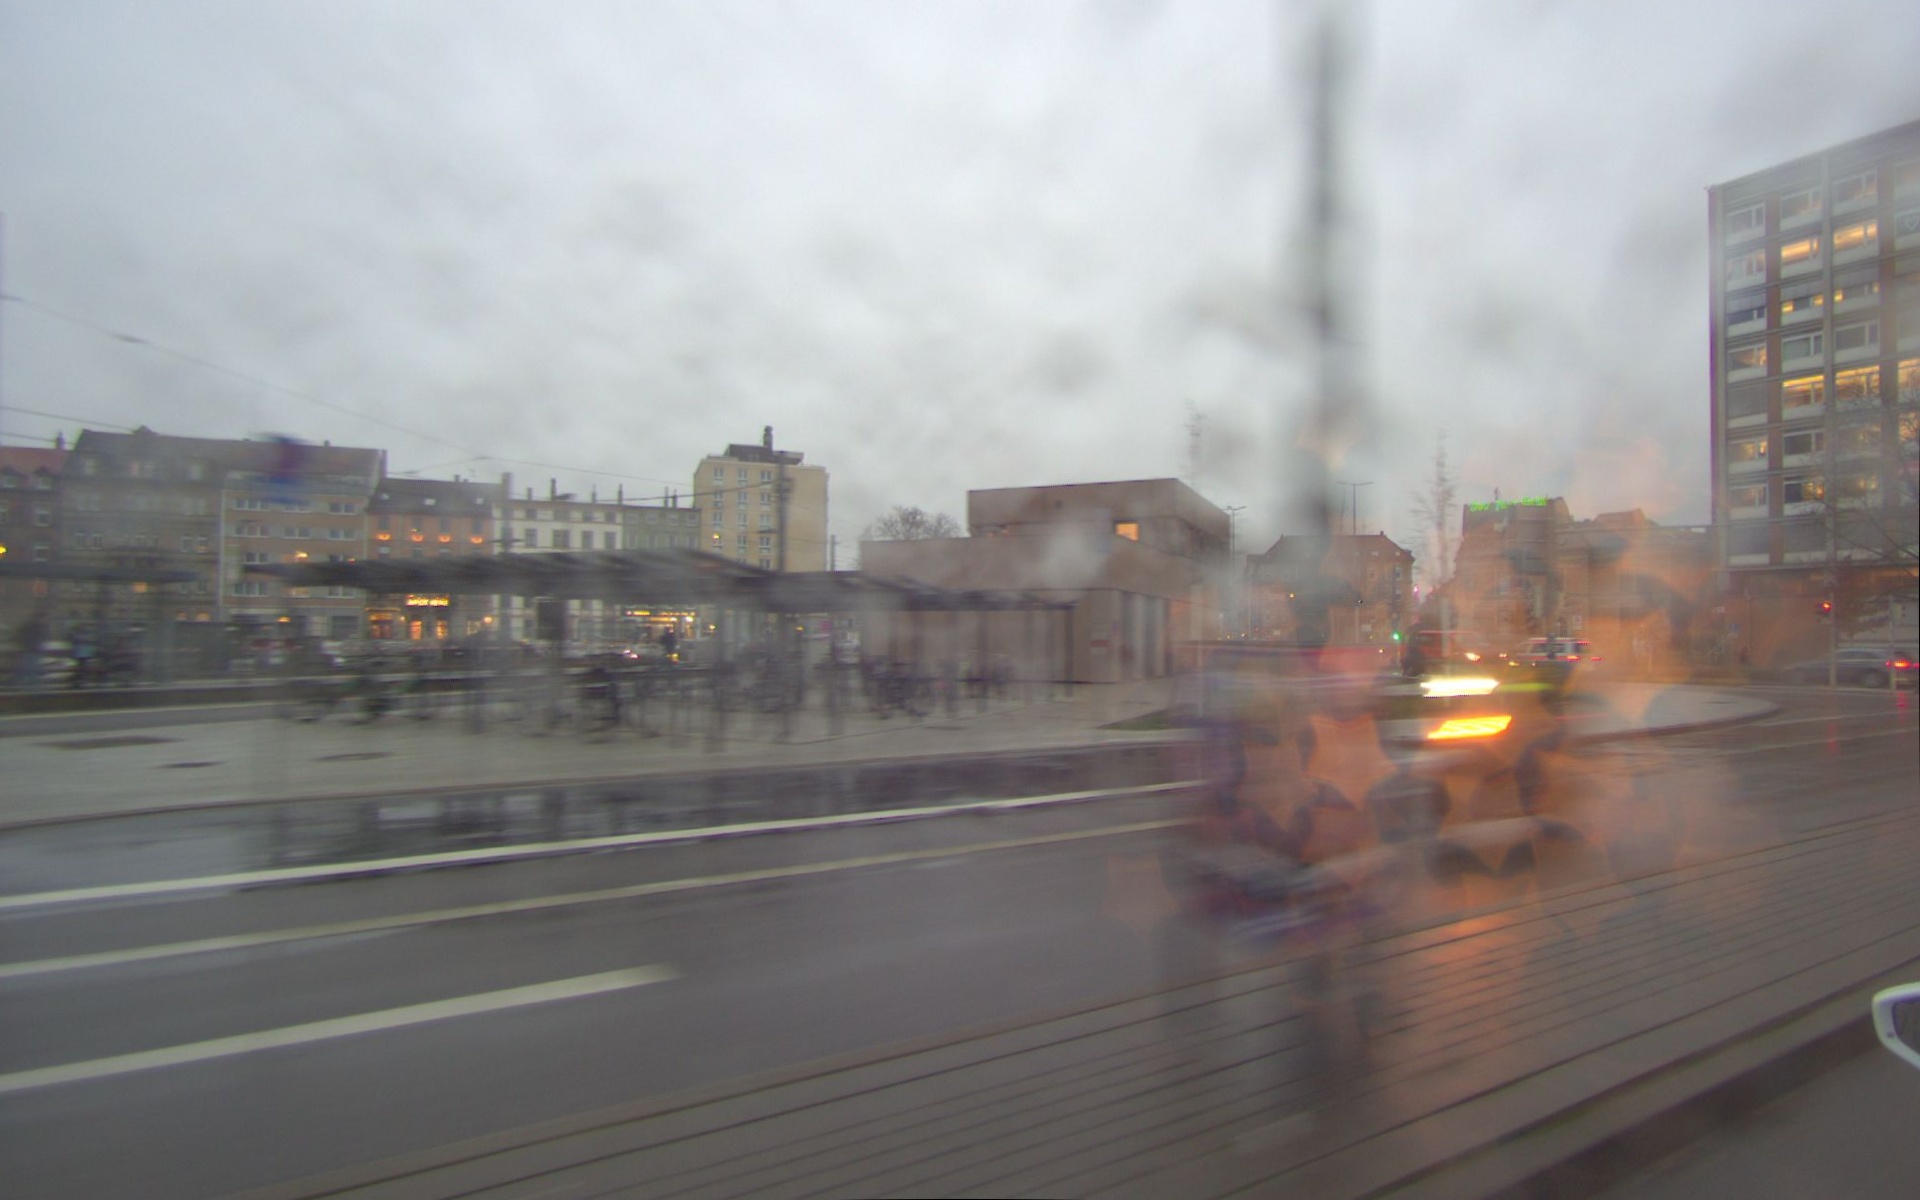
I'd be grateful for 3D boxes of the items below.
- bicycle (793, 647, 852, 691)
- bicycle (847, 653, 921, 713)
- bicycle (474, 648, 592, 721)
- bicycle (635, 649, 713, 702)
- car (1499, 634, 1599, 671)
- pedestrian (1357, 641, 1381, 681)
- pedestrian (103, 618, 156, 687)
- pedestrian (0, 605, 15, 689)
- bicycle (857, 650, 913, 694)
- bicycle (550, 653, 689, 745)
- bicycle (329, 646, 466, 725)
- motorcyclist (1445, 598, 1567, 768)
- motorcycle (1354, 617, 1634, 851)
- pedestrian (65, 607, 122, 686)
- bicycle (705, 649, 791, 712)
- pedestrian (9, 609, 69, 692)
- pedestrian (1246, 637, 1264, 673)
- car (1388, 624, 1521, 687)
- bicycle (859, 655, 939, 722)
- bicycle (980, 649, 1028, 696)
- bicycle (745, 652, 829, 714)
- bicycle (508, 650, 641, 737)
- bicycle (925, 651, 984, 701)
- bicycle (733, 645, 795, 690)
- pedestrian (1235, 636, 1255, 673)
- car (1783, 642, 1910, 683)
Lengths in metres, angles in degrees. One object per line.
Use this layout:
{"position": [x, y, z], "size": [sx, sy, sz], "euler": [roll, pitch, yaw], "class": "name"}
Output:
{"position": [-3.821, 1.918, 28.122], "size": [0.540, 1.180, 1.896], "euler": [2, -2, 30], "class": "bicycle"}
{"position": [-1.564, 1.705, 21.007], "size": [0.540, 1.180, 1.896], "euler": [2, -2, 30], "class": "bicycle"}
{"position": [-7.404, 1.441, 17.503], "size": [0.540, 1.180, 1.896], "euler": [2, -2, 30], "class": "bicycle"}
{"position": [-6.783, 1.776, 23.904], "size": [0.540, 1.180, 1.896], "euler": [2, -2, 30], "class": "bicycle"}
{"position": [34.164, 3.007, 58.427], "size": [1.966, 1.938, 5.157], "euler": [1, -1, -14], "class": "car"}
{"position": [17.930, 2.680, 44.009], "size": [0.781, 1.719, 0.461], "euler": [3, -1, -7], "class": "pedestrian"}
{"position": [-20.376, 1.291, 24.662], "size": [0.701, 1.639, 0.717], "euler": [1, -2, 25], "class": "pedestrian"}
{"position": [-21.324, 1.019, 21.940], "size": [0.701, 1.830, 0.717], "euler": [1, -2, 25], "class": "pedestrian"}
{"position": [-2.093, 2.001, 28.259], "size": [0.540, 1.180, 1.896], "euler": [2, -2, 30], "class": "bicycle"}
{"position": [-4.773, 1.359, 14.229], "size": [0.540, 1.180, 1.939], "euler": [2, -2, 30], "class": "bicycle"}
{"position": [-9.108, 1.357, 16.345], "size": [0.540, 1.180, 1.896], "euler": [2, -2, 30], "class": "bicycle"}
{"position": [4.073, 0.603, 7.507], "size": [0.604, 1.209, 0.533], "euler": [3, -1, -29], "class": "motorcyclist"}
{"position": [4.022, 0.911, 7.504], "size": [2.289, 1.517, 0.824], "euler": [2, -2, -32], "class": "motorcycle"}
{"position": [-20.415, 1.091, 23.675], "size": [0.701, 1.830, 0.717], "euler": [1, -2, 25], "class": "pedestrian"}
{"position": [-4.291, 1.613, 20.462], "size": [0.540, 1.180, 1.896], "euler": [2, -2, 30], "class": "bicycle"}
{"position": [-20.790, 1.133, 22.679], "size": [0.701, 1.830, 0.717], "euler": [1, -2, 25], "class": "pedestrian"}
{"position": [15.122, 2.827, 51.478], "size": [0.576, 1.795, 0.610], "euler": [3, -1, -17], "class": "pedestrian"}
{"position": [20.395, 2.227, 41.723], "size": [2.220, 2.311, 5.024], "euler": [3, -1, -13], "class": "car"}
{"position": [-1.143, 1.663, 19.211], "size": [0.540, 1.180, 1.896], "euler": [2, -2, 30], "class": "bicycle"}
{"position": [1.194, 1.907, 26.777], "size": [0.540, 1.180, 1.897], "euler": [2, -2, 26], "class": "bicycle"}
{"position": [-3.472, 1.647, 20.282], "size": [0.540, 1.180, 1.896], "euler": [2, -2, 30], "class": "bicycle"}
{"position": [-5.691, 1.351, 14.957], "size": [0.540, 1.180, 1.896], "euler": [2, -2, 30], "class": "bicycle"}
{"position": [-0.111, 1.870, 24.953], "size": [0.540, 1.180, 1.896], "euler": [2, -2, 30], "class": "bicycle"}
{"position": [-5.466, 1.879, 28.148], "size": [0.540, 1.180, 1.896], "euler": [2, -2, 30], "class": "bicycle"}
{"position": [14.546, 2.798, 51.283], "size": [0.670, 1.839, 0.692], "euler": [3, -1, -17], "class": "pedestrian"}
{"position": [37.739, 2.645, 42.880], "size": [1.445, 1.505, 3.917], "euler": [3, -1, -14], "class": "car"}
